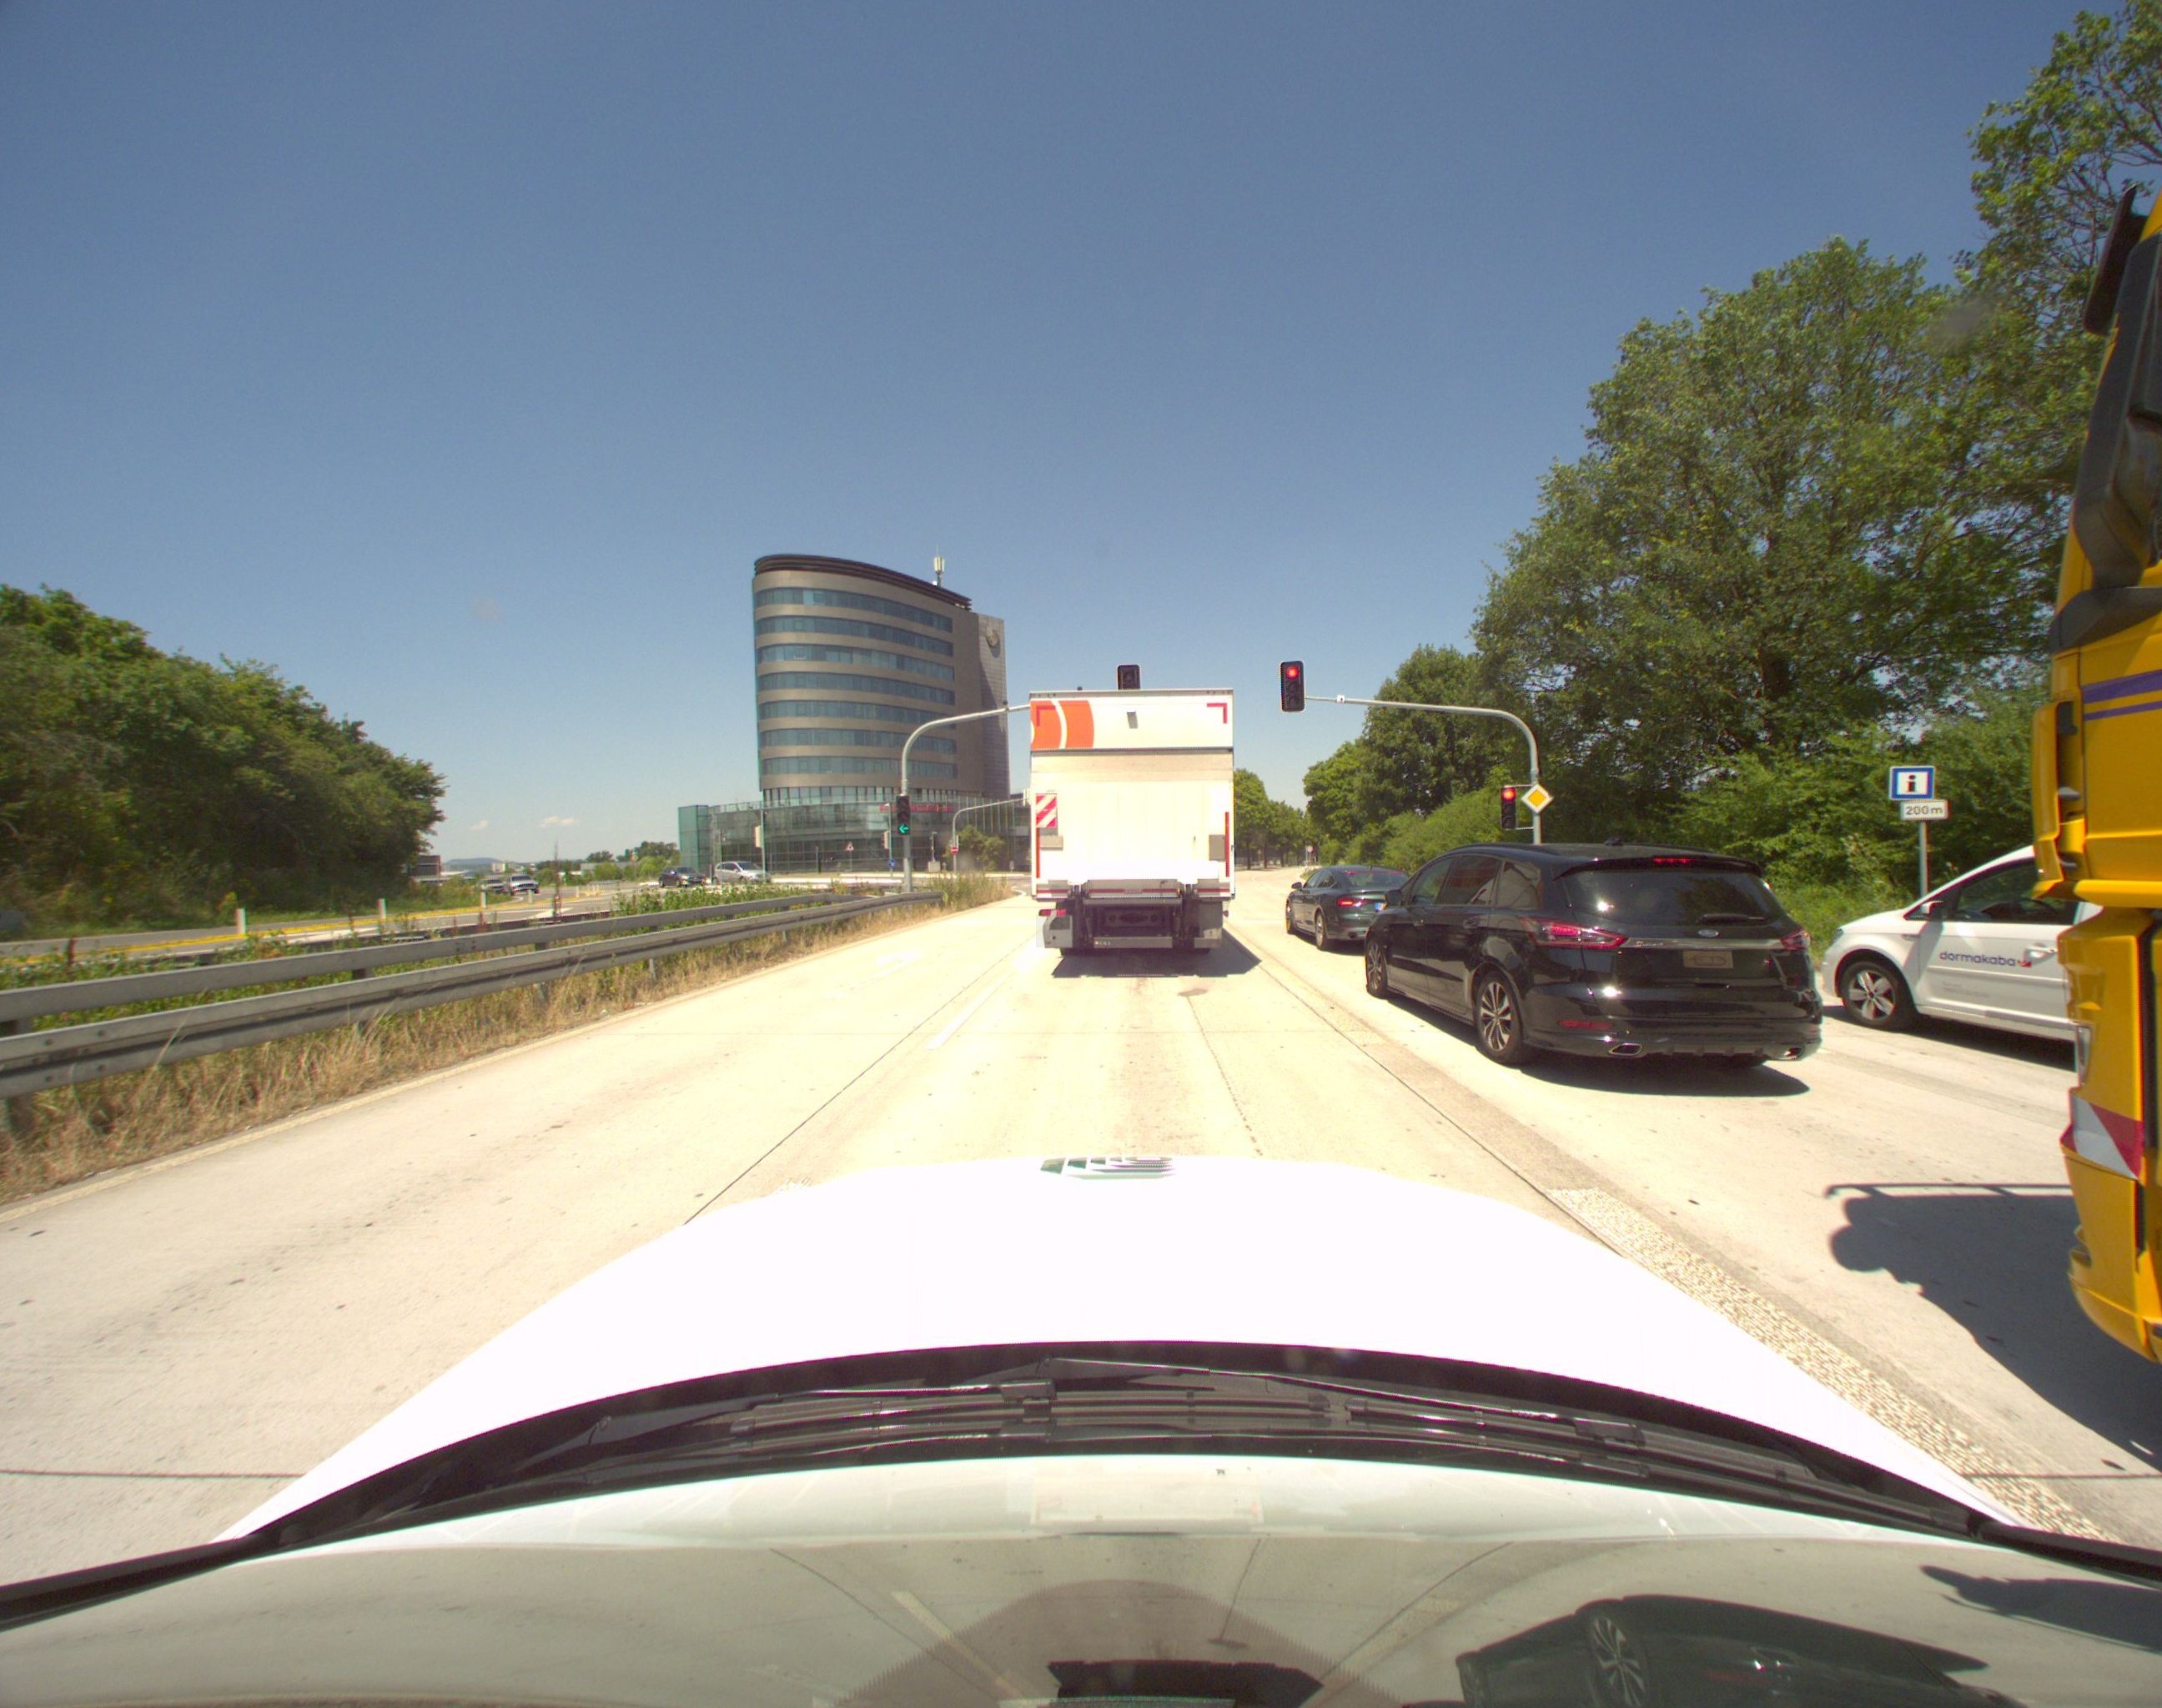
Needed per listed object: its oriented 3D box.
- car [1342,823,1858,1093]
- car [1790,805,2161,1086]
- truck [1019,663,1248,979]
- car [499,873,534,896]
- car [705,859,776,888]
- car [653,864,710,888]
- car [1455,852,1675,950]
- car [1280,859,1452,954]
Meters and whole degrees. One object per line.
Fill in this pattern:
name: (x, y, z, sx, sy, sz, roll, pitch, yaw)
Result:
car: (3.911, 0.666, 7.308, 1.777, 1.639, 4.649, 0, -1, 2)
car: (7.836, 0.588, 5.663, 1.761, 1.807, 4.795, 0, -1, 2)
truck: (0.904, -0.344, 14.737, 2.758, 3.860, 9.378, -1, -1, 3)
car: (-46.884, 2.489, 67.580, 2.010, 1.773, 4.801, 0, -1, -39)
car: (-21.112, 1.229, 50.493, 4.274, 1.595, 1.788, -3, -2, 29)
car: (-27.110, 1.520, 55.168, 4.273, 1.456, 1.708, -4, -2, 37)
car: (8.347, 0.753, 14.453, 1.762, 1.509, 3.651, 0, -1, 0)
car: (4.832, 0.818, 14.521, 1.759, 1.410, 4.615, 0, -1, 4)
